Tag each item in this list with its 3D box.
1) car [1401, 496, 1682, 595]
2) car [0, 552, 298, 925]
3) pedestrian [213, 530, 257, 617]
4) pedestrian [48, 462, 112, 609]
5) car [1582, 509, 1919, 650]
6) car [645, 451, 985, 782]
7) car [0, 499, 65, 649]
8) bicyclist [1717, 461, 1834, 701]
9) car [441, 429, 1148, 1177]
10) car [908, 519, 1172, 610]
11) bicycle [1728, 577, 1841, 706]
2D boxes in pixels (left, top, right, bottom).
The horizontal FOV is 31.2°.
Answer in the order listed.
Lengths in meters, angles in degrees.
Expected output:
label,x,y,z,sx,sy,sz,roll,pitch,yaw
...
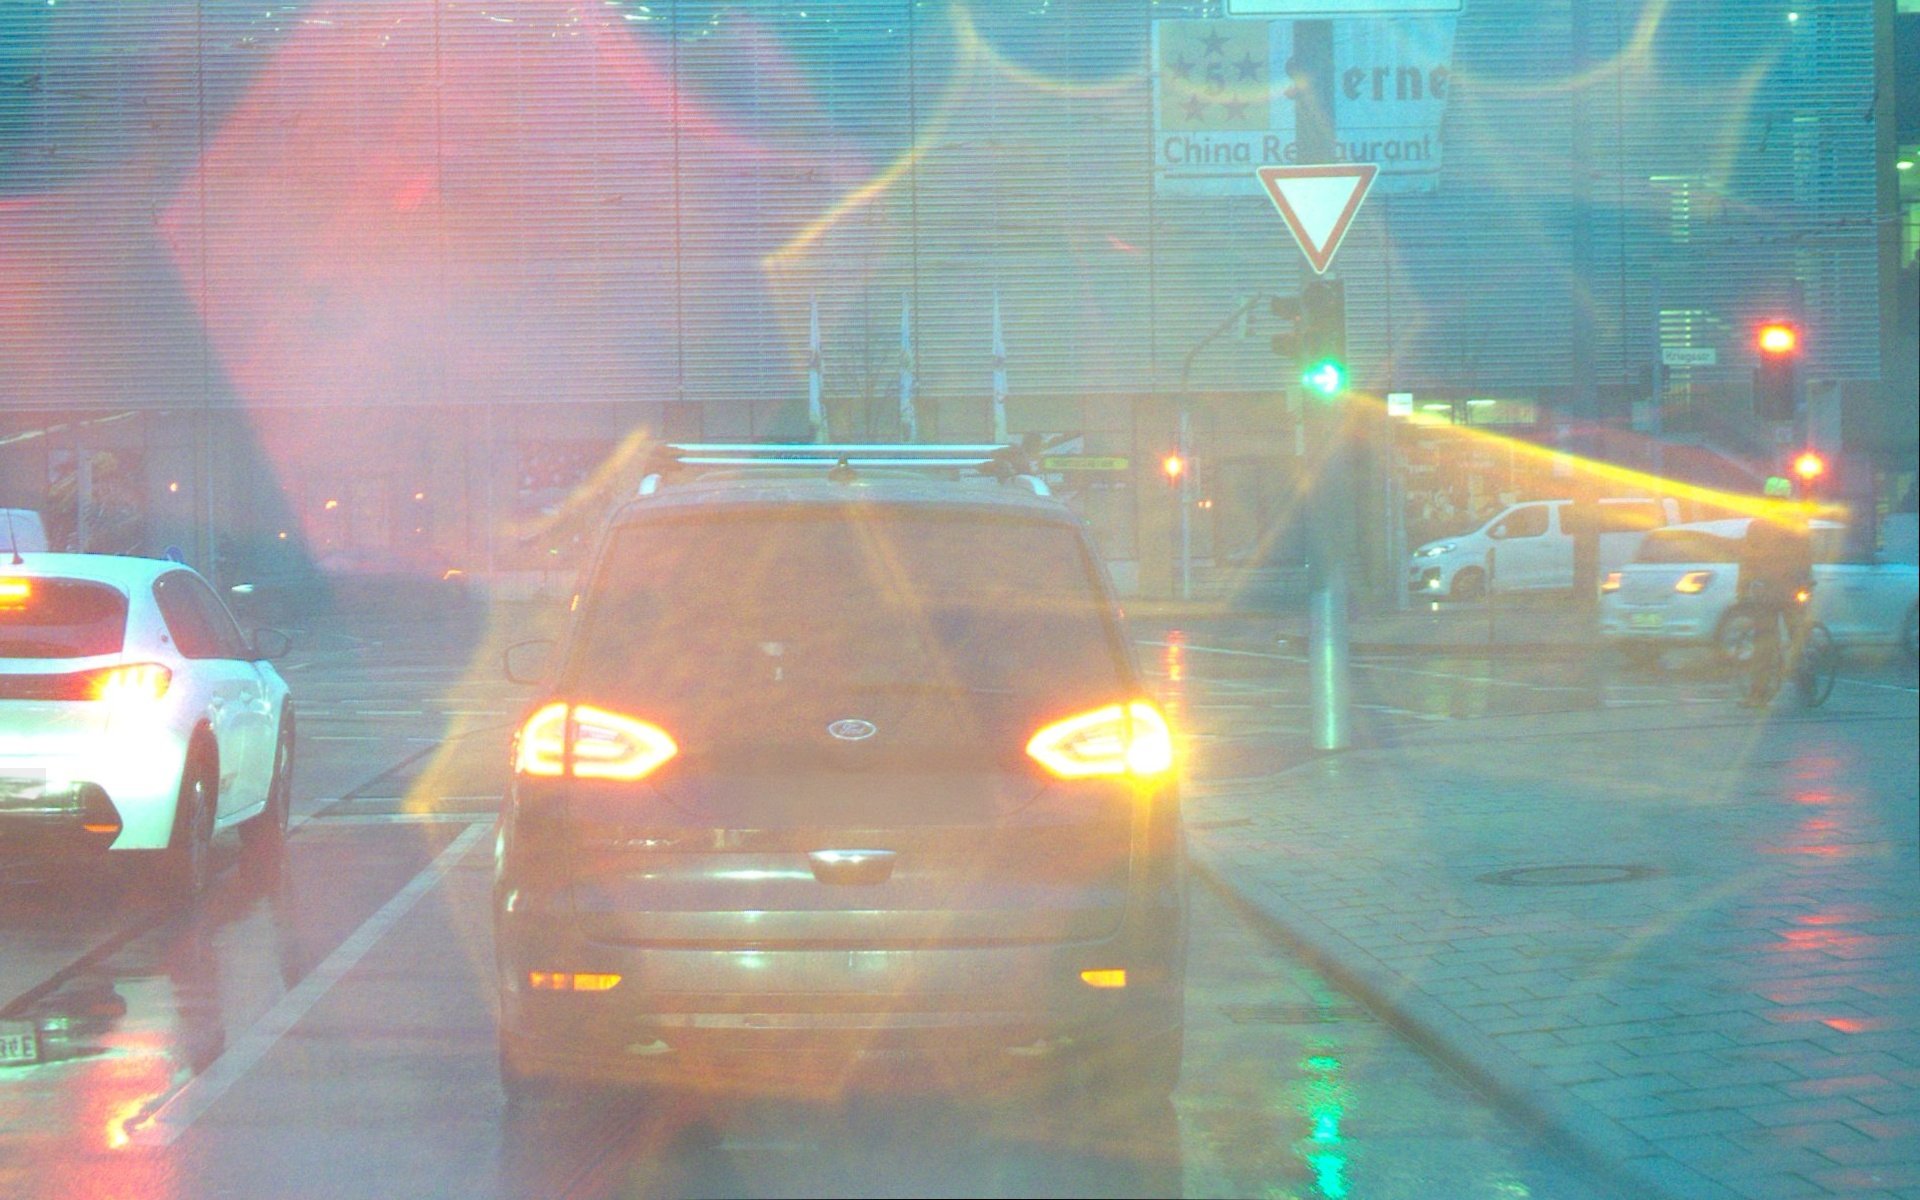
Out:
label,x,y,z,sx,sy,sz,roll,pitch,yaw
car,10.394,-0.973,61.625,4.636,1.671,1.787,-1,1,-6
car,-4.100,0.521,15.484,1.758,1.458,3.918,0,1,-4
pedestrian,-15.166,-0.557,71.942,0.787,1.781,0.733,-1,1,-4
pedestrian,-17.639,-1.295,68.920,0.963,2.915,1.114,1,0,0
car,8.436,-0.233,35.432,3.720,1.356,1.645,-1,1,-26
car,-0.907,0.043,21.177,1.843,1.800,4.487,-1,1,-3
car,-13.236,-0.285,41.810,1.901,1.865,4.957,0,1,23
bicyclist,6.566,-0.159,27.713,0.791,1.884,0.989,-1,1,7
car,-0.386,0.455,10.282,1.674,1.773,4.000,1,1,0
car,1.402,-0.633,59.555,4.328,1.481,1.866,-2,1,-37
bicycle,6.647,0.319,27.778,0.655,0.970,1.866,-1,1,7
